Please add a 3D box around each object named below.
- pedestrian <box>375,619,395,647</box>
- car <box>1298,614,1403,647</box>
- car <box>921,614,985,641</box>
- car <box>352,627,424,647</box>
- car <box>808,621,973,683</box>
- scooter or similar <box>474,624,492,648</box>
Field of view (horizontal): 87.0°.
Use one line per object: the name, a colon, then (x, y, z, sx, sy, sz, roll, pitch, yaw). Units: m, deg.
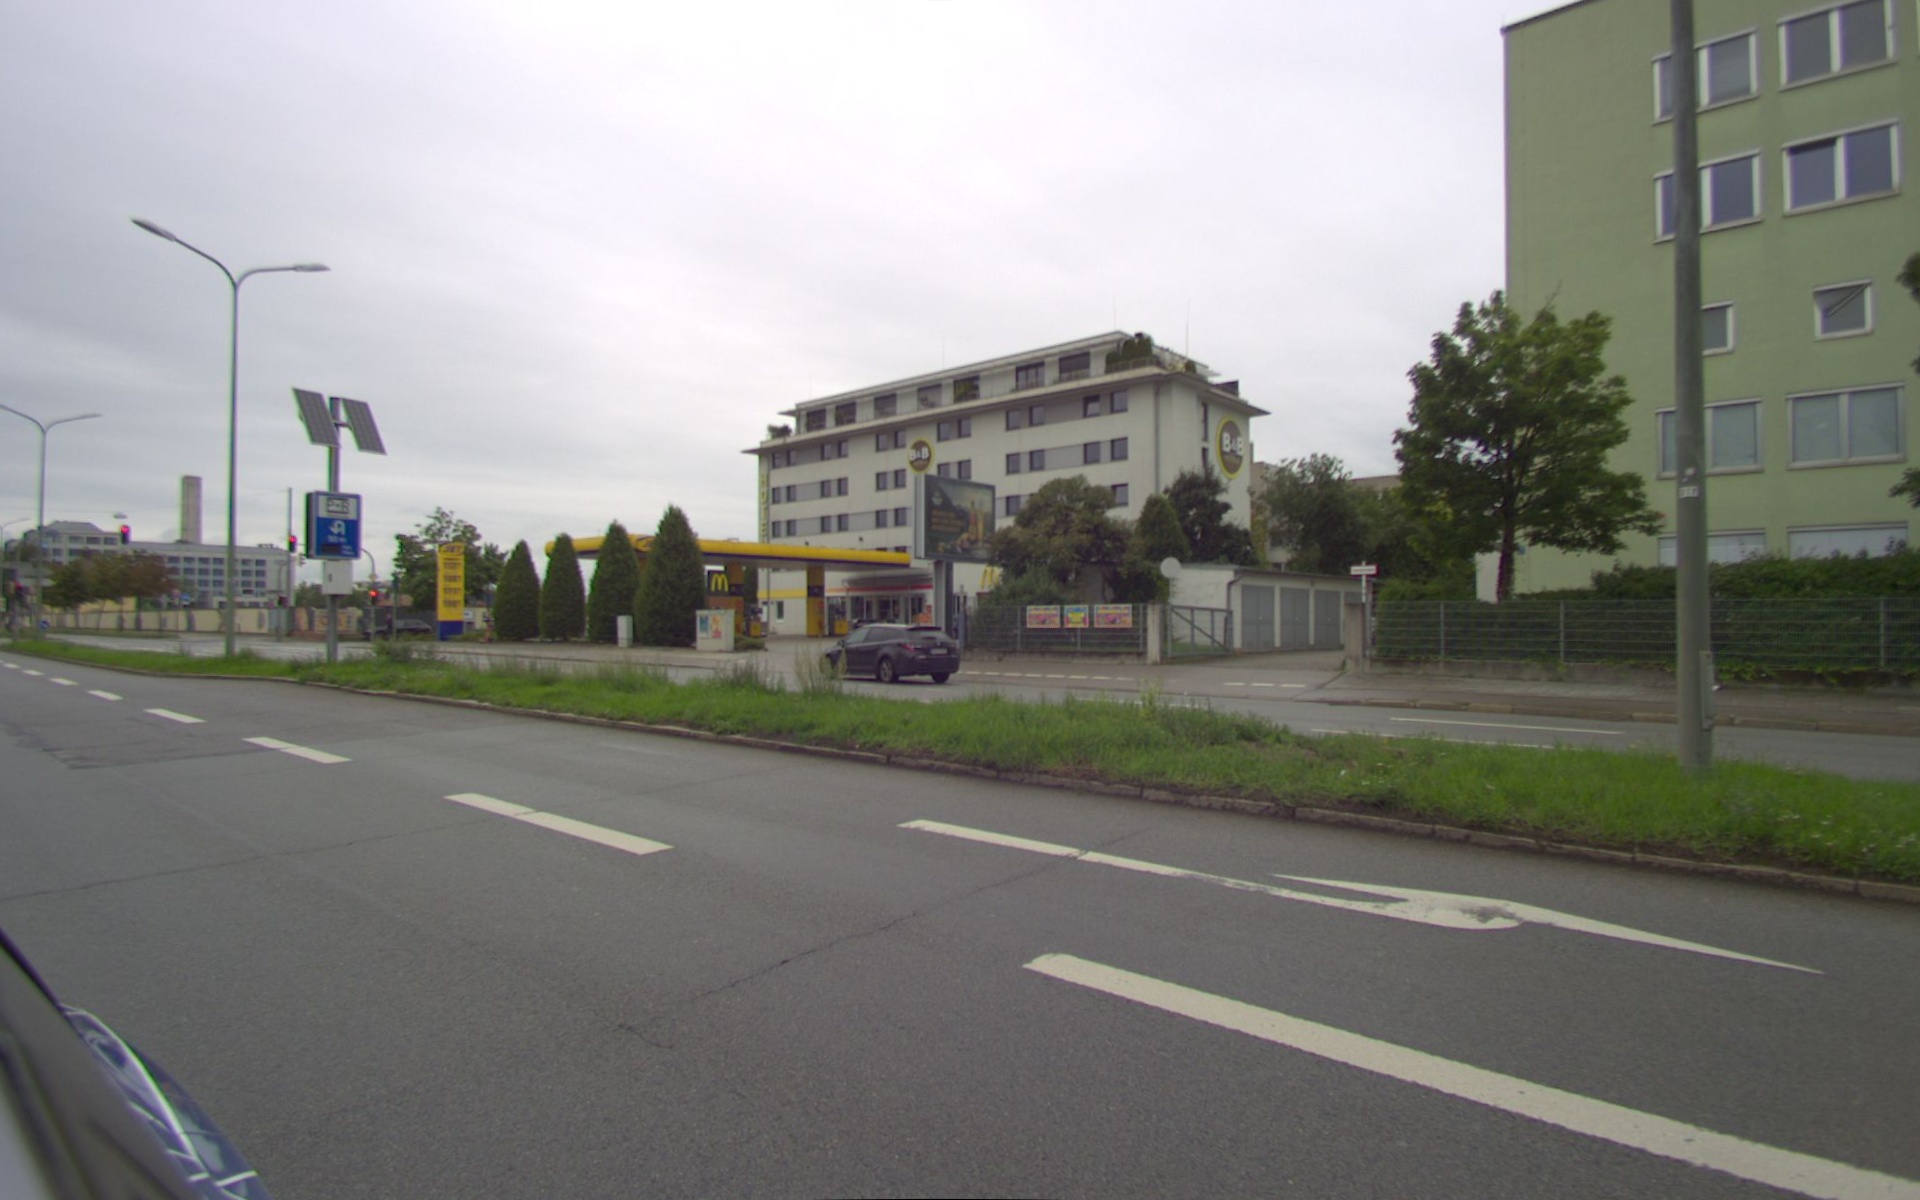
pedestrian: (-34.286, 1.953, 60.348, 0.687, 1.627, 0.794, -1, 0, 41)
car: (17.511, 1.375, 45.483, 4.093, 1.409, 1.746, -1, -3, 41)
car: (-0.392, 1.679, 61.208, 1.705, 1.599, 3.947, -1, -2, 39)
car: (-42.007, 2.693, 74.342, 2.001, 1.439, 4.203, -2, -2, 44)
car: (-1.850, 1.272, 25.460, 1.967, 1.412, 4.665, 2, -3, -36)
scooter or similar: (-25.116, 1.882, 53.319, 0.351, 1.252, 1.546, -2, 0, -44)
